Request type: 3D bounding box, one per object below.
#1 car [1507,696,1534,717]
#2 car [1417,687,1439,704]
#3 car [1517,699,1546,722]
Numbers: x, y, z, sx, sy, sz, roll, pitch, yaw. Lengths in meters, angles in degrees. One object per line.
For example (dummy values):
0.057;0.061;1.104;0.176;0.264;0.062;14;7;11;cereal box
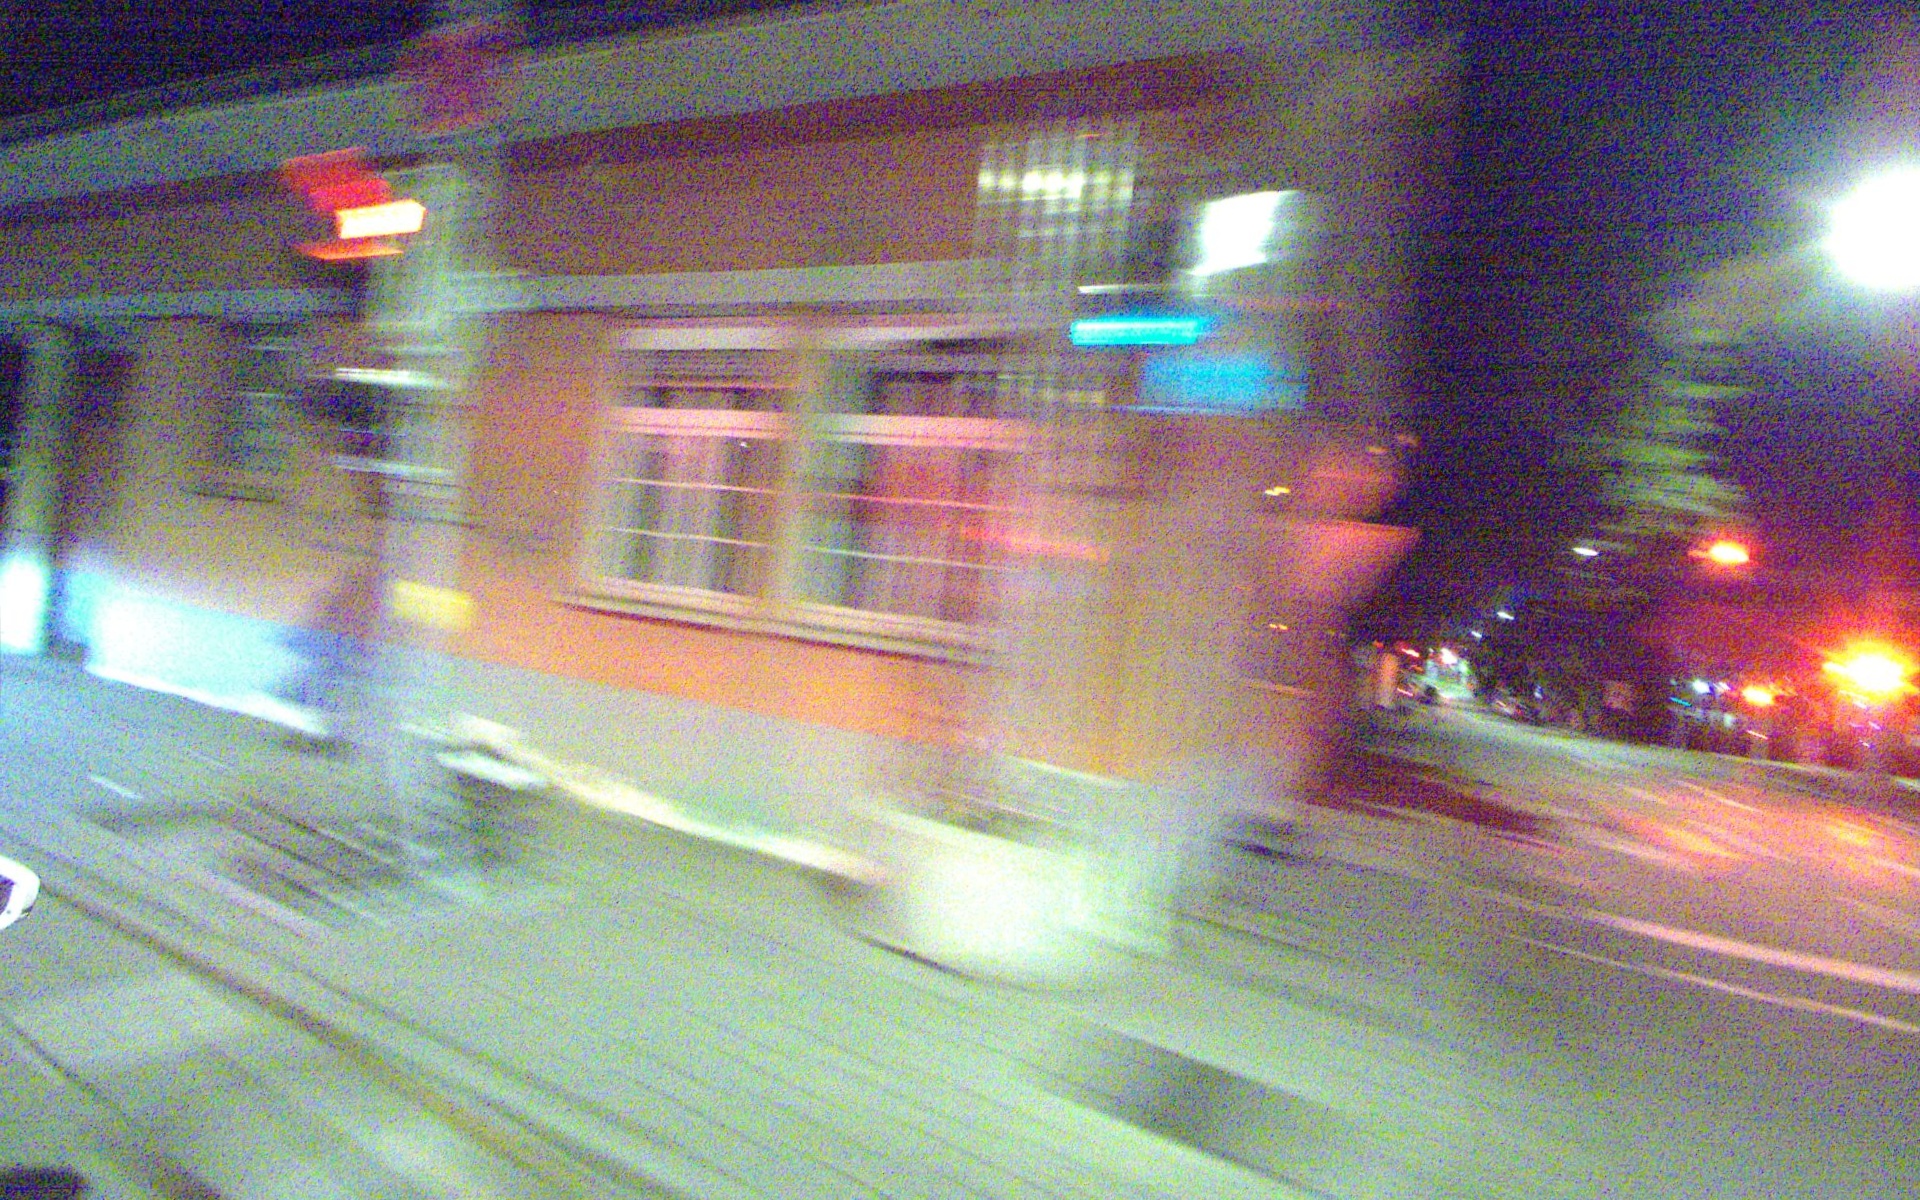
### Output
50.729;9.638;91.087;1.691;1.590;4.202;7;-1;26;car
49.350;10.051;106.148;1.690;1.590;4.205;7;-1;23;car
47.434;9.193;83.595;1.691;1.590;4.202;7;-1;26;car
